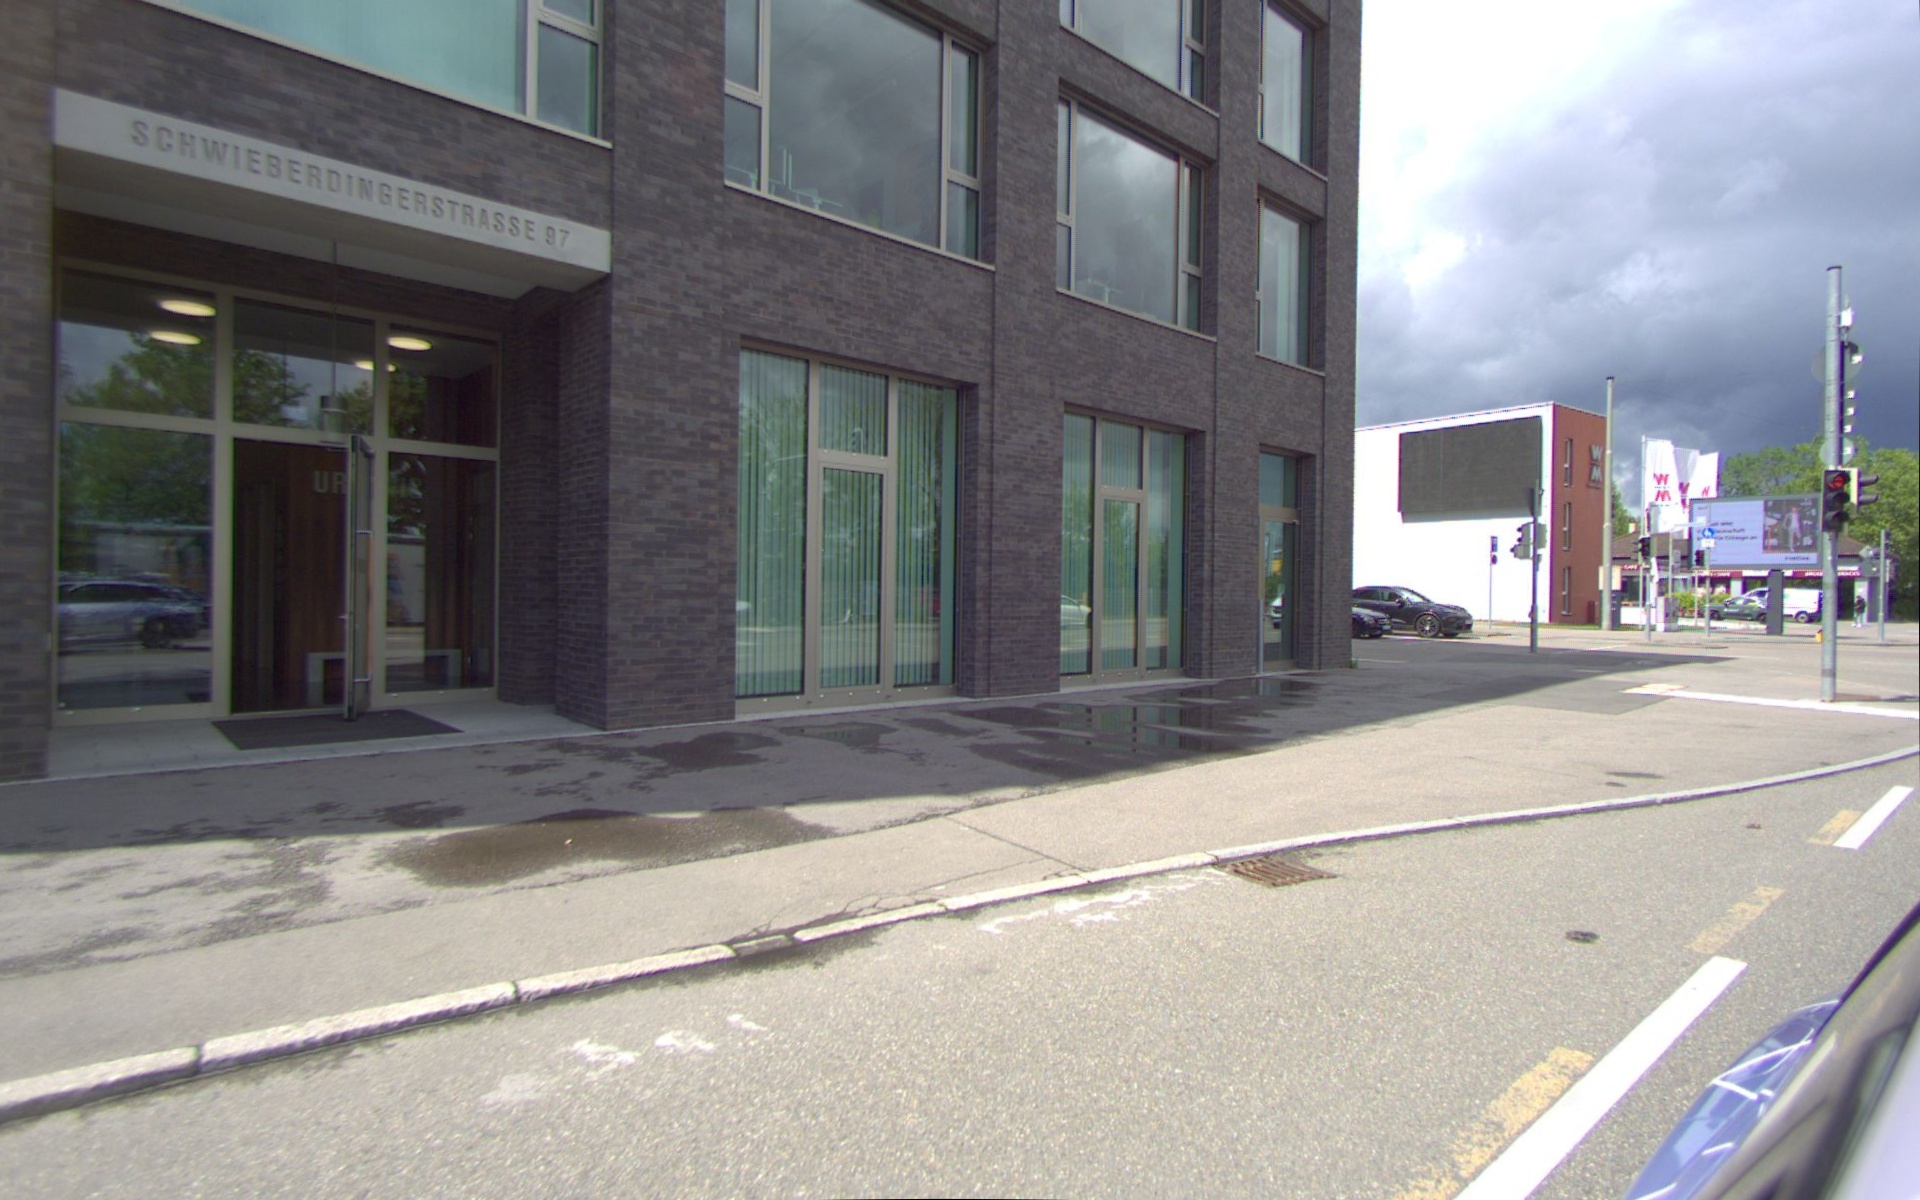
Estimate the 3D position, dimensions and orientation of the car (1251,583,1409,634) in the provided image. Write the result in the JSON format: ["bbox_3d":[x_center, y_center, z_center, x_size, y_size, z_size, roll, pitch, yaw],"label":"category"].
[{"bbox_3d":[12.106,0.224,33.323,1.965,1.511,4.533,-1,2,-40],"label":"car"}]

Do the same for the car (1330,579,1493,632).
[{"bbox_3d":[15.187,0.140,34.254,1.965,1.639,4.648,0,1,-41],"label":"car"}]

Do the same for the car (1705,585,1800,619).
[{"bbox_3d":[43.076,0.097,55.087,1.730,1.503,3.679,0,5,-38],"label":"car"}]

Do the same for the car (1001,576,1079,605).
[{"bbox_3d":[4.541,-0.560,58.126,4.300,1.589,1.841,2,1,44],"label":"car"}]

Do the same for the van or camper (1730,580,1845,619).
[{"bbox_3d":[49.094,-0.092,60.153,2.173,1.981,4.910,-1,4,-40],"label":"van or camper"}]

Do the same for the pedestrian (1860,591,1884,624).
[{"bbox_3d":[50.363,0.420,55.894,0.726,1.727,0.714,-1,6,-40],"label":"pedestrian"}]
